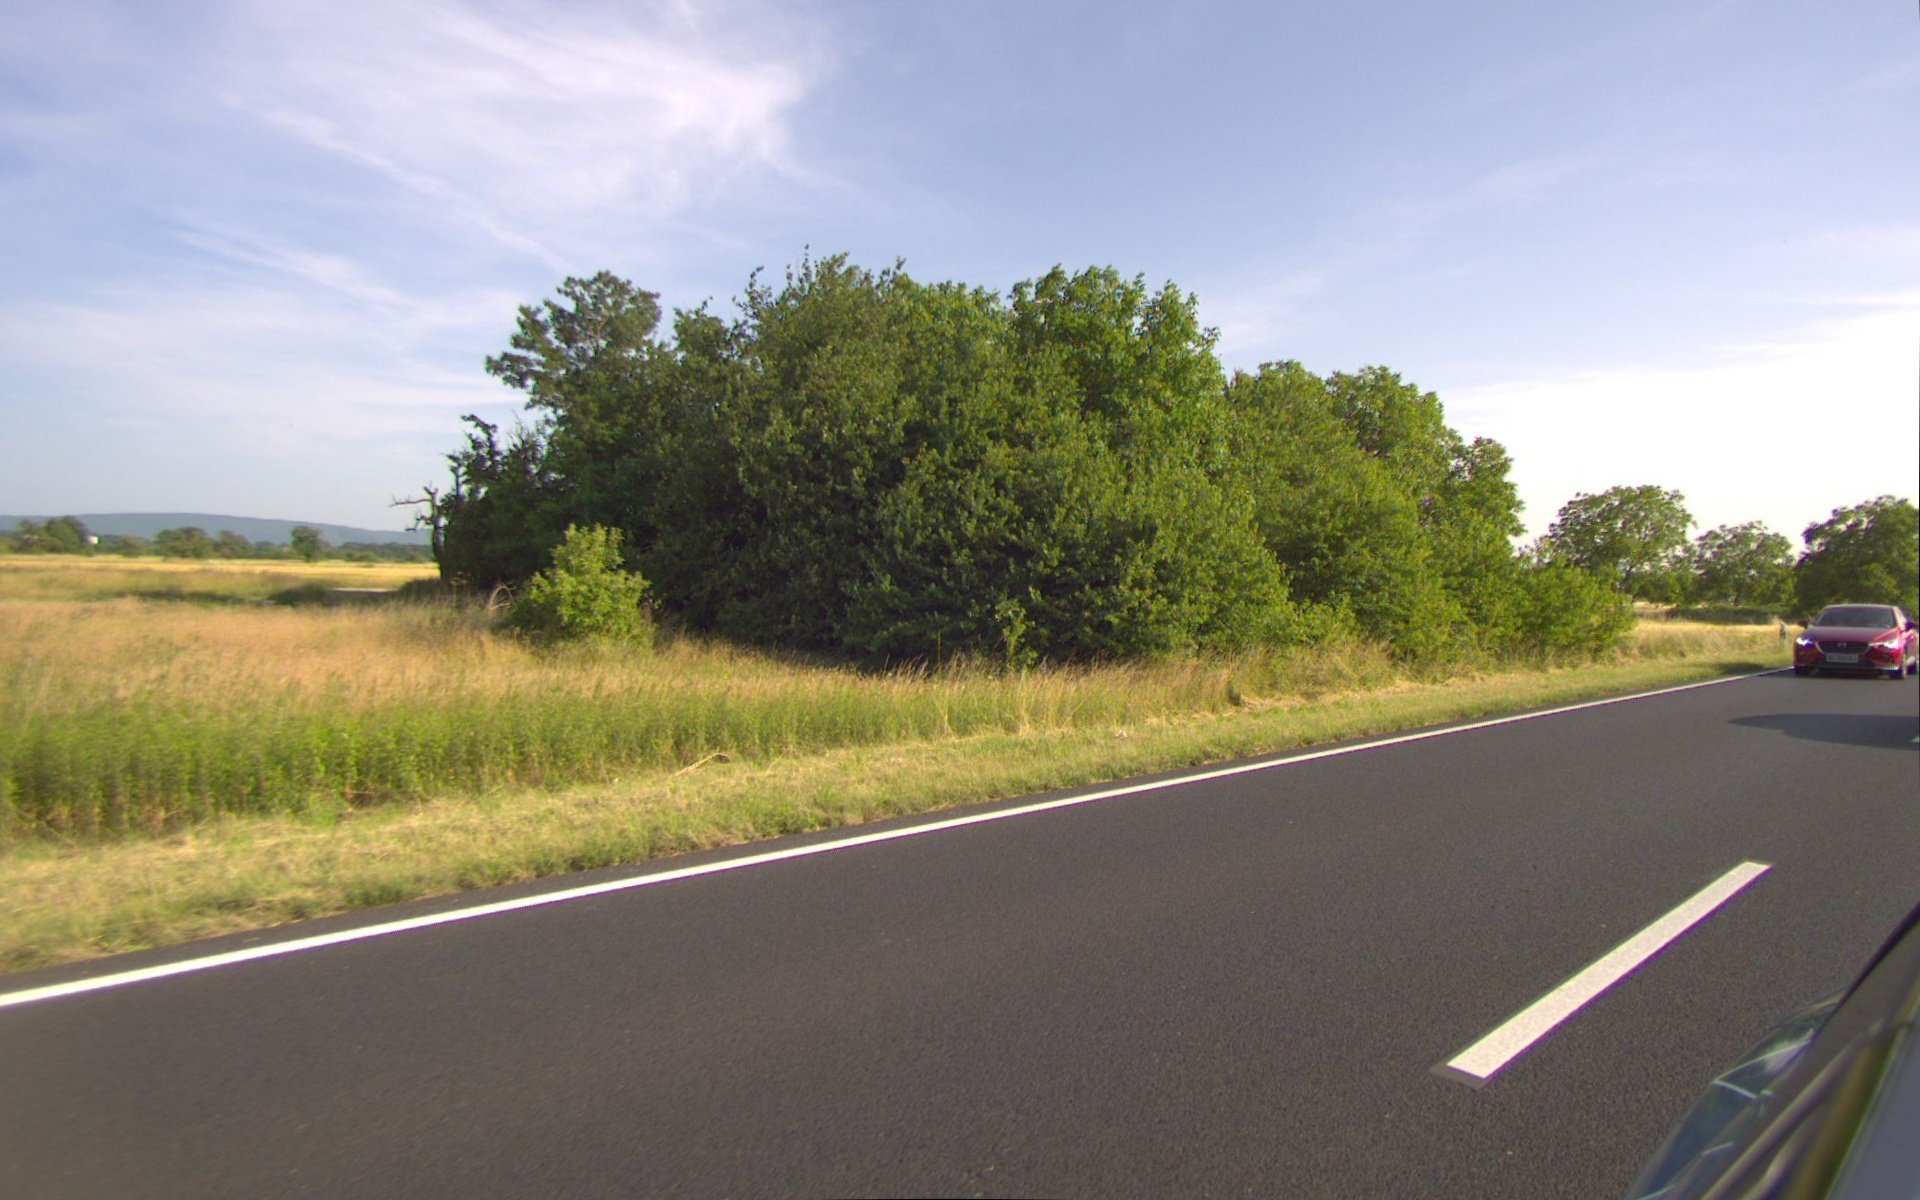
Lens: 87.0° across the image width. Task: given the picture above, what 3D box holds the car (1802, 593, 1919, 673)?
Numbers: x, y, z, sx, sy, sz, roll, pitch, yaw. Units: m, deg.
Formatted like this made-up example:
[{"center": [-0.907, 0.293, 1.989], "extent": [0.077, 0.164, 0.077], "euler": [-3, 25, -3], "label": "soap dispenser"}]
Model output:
[{"center": [19.637, 0.624, 21.753], "extent": [4.423, 1.525, 1.707], "euler": [-1, 1, -41], "label": "car"}]
